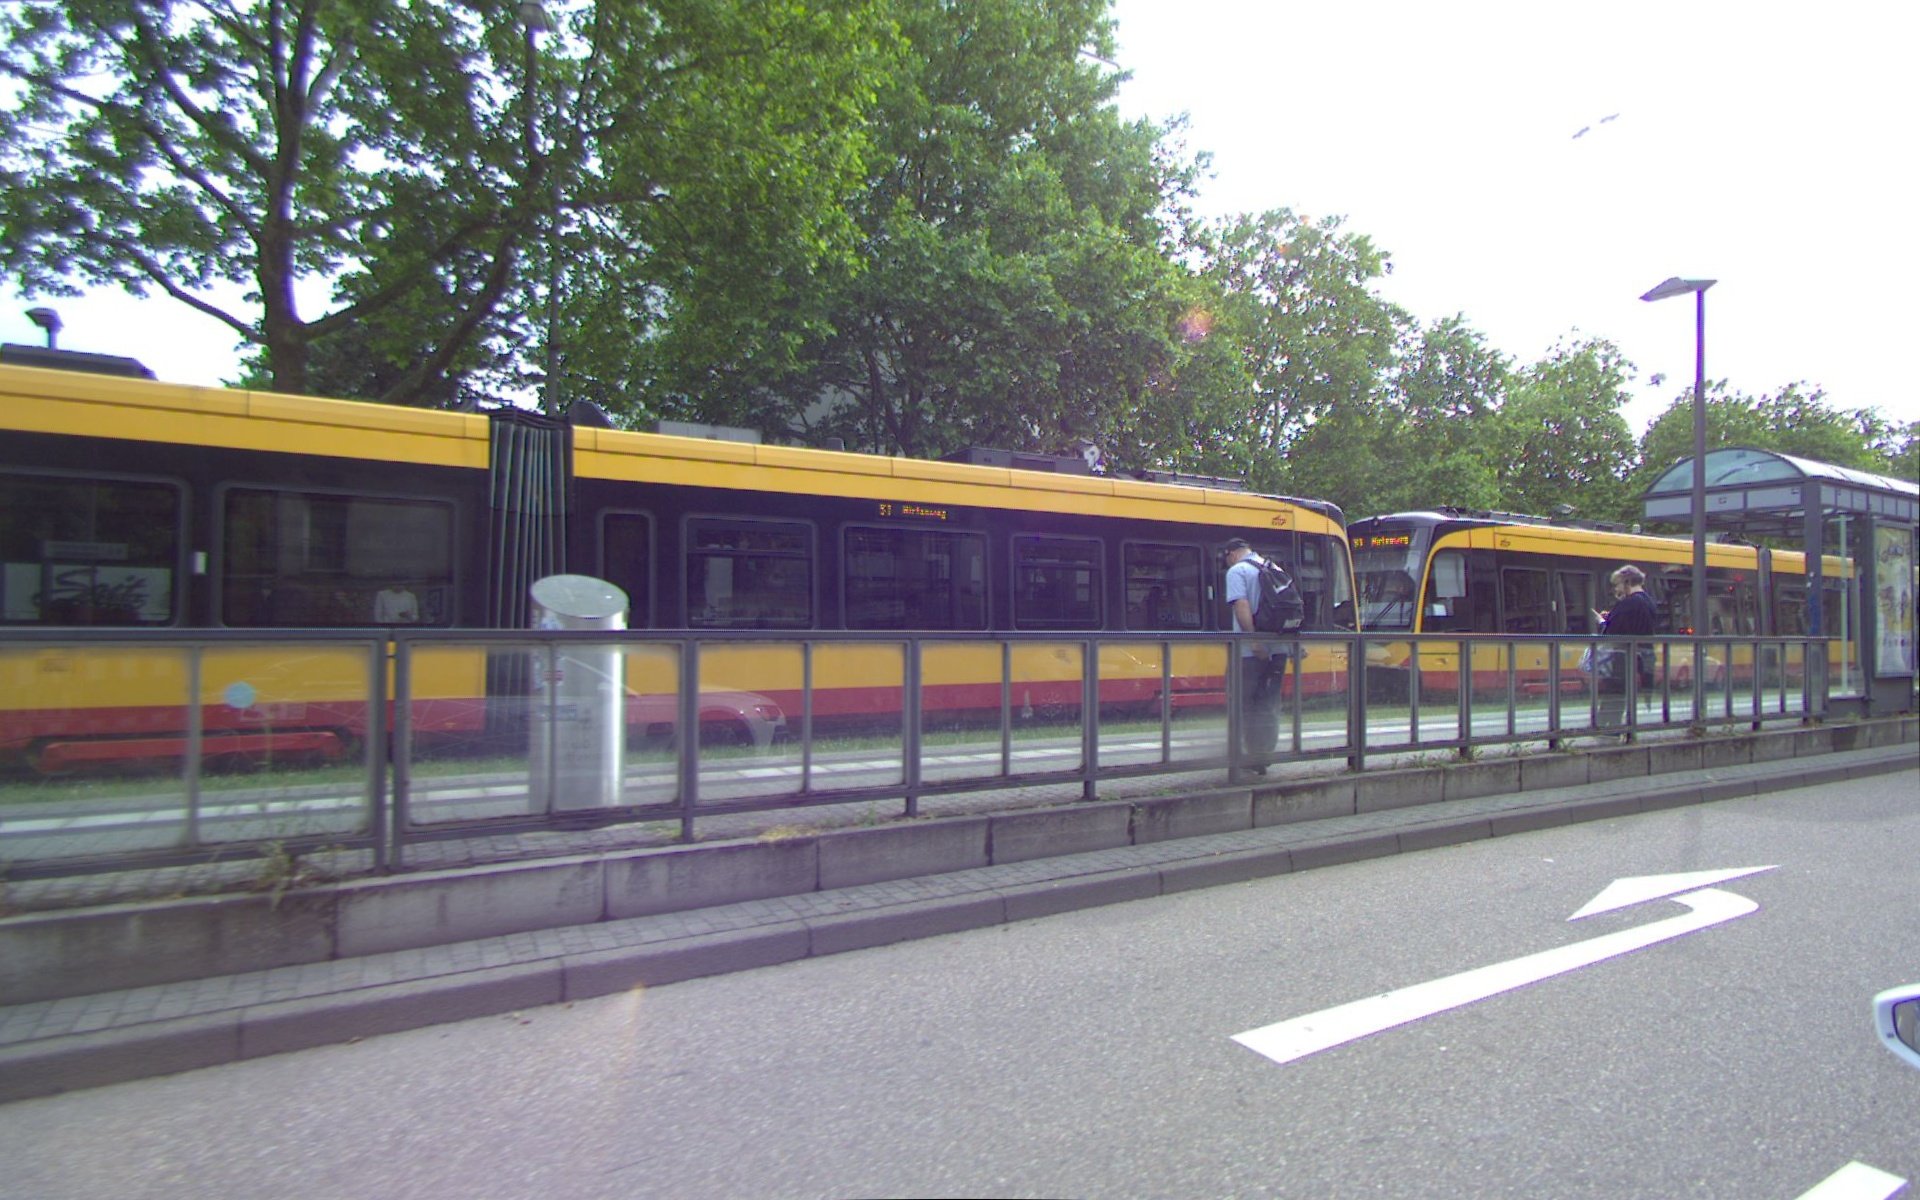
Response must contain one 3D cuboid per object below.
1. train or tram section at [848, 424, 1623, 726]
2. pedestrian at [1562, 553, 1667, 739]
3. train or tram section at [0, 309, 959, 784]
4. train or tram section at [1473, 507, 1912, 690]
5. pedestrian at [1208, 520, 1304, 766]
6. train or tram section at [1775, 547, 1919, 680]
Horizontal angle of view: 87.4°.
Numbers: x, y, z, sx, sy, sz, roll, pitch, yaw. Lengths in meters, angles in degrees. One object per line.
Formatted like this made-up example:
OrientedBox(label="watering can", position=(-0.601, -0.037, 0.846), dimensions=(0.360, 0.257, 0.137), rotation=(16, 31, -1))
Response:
OrientedBox(label="train or tram section", position=(5.668, -0.095, 17.074), dimensions=(15.118, 3.579, 3.045), rotation=(2, 0, -31))
OrientedBox(label="pedestrian", position=(6.075, 0.417, 9.331), dimensions=(0.721, 1.654, 0.510), rotation=(2, 0, -29))
OrientedBox(label="train or tram section", position=(-7.501, -0.398, 9.202), dimensions=(15.589, 3.579, 3.045), rotation=(2, 0, -31))
OrientedBox(label="train or tram section", position=(18.668, 0.172, 24.822), dimensions=(15.118, 3.579, 3.045), rotation=(2, 0, -31))
OrientedBox(label="pedestrian", position=(2.073, 0.295, 7.059), dimensions=(0.387, 1.654, 0.477), rotation=(2, 0, -29))
OrientedBox(label="train or tram section", position=(31.858, 0.581, 32.701), dimensions=(15.666, 3.636, 3.045), rotation=(2, 0, -31))
